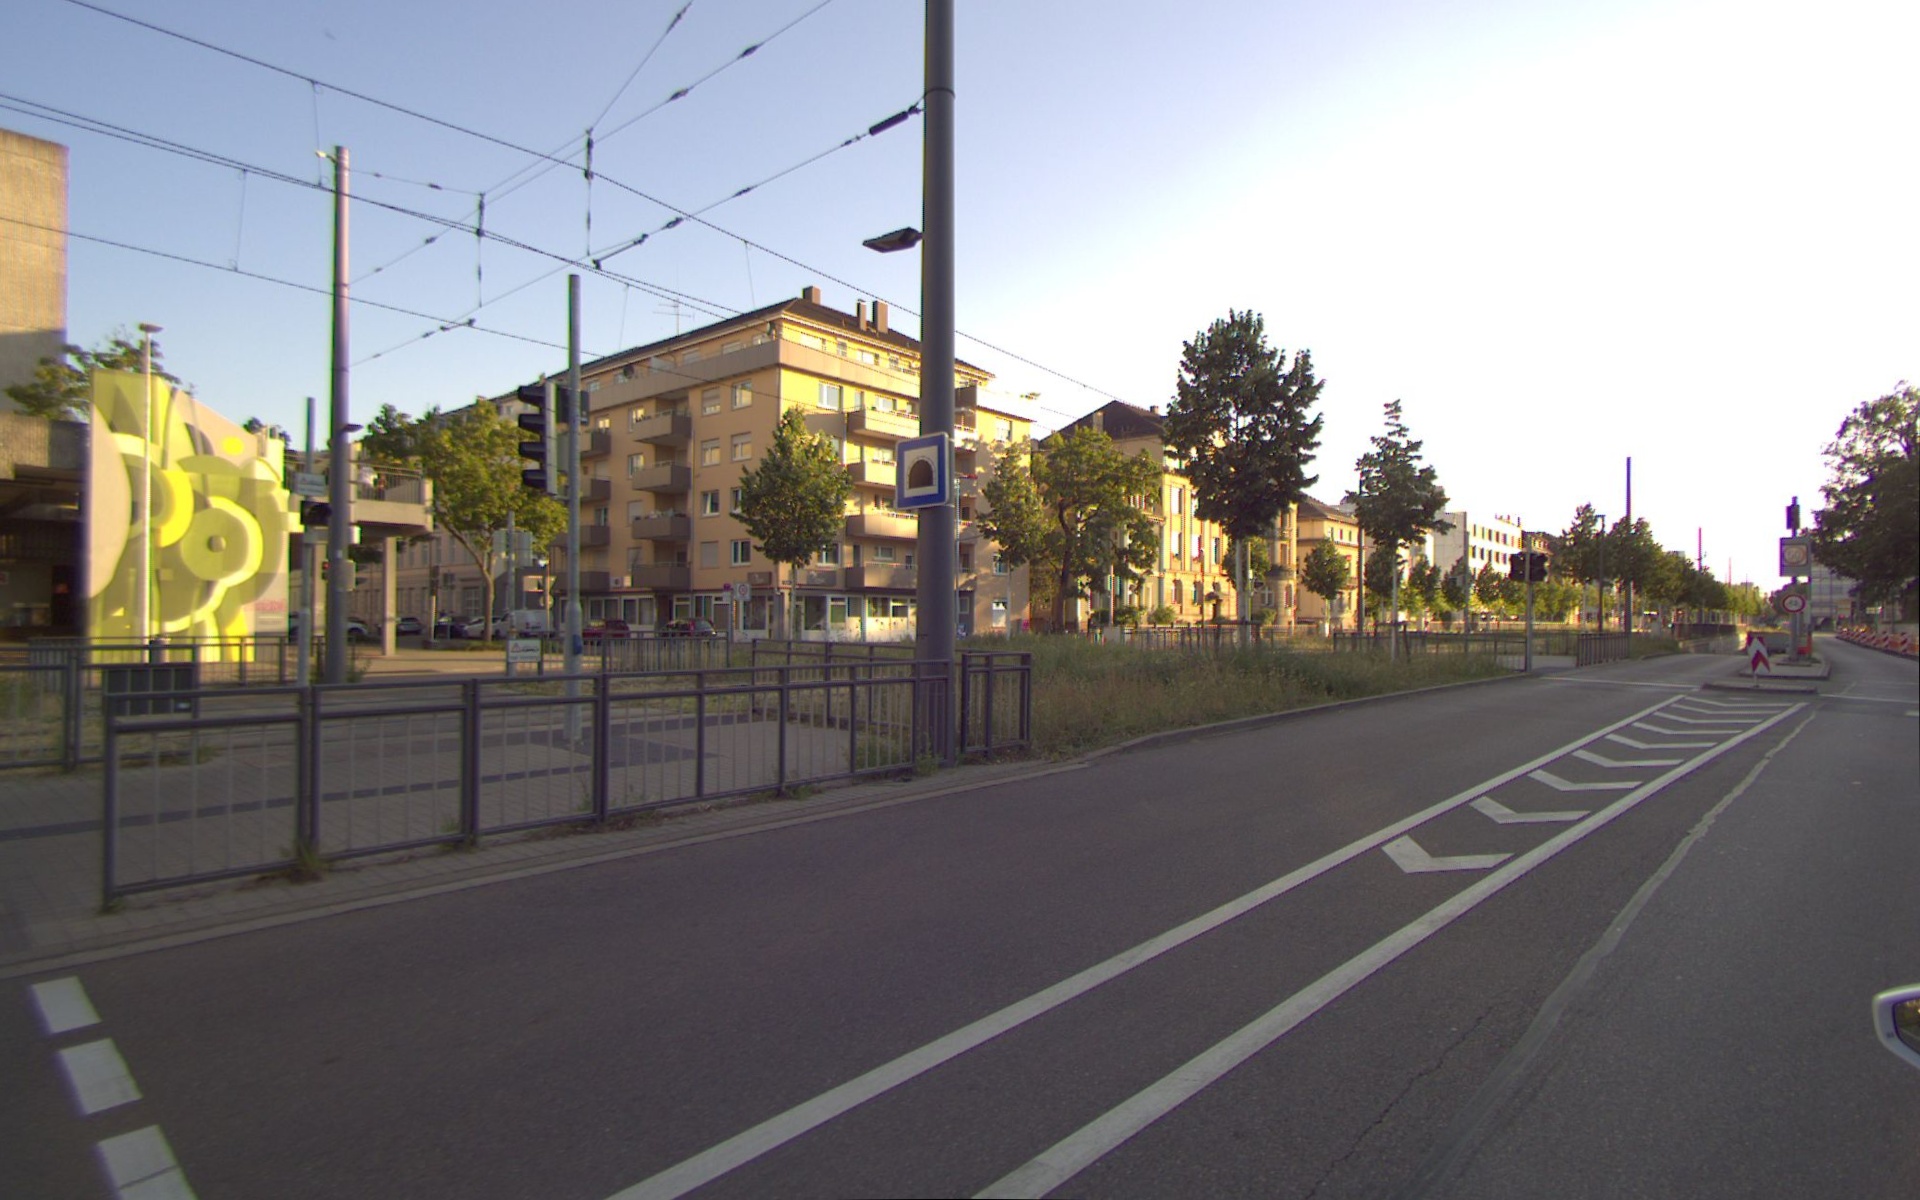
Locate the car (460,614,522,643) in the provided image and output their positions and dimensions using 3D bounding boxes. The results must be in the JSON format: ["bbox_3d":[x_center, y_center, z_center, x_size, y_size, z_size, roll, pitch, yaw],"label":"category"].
[{"bbox_3d":[-30.347,1.815,64.978,4.279,1.779,2.106,0,-1,41],"label":"car"}]

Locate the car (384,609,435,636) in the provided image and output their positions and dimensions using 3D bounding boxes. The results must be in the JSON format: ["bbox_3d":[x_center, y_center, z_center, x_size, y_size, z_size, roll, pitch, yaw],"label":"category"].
[{"bbox_3d":[-40.864,1.681,74.541,3.847,1.809,1.981,-4,-1,39],"label":"car"}]

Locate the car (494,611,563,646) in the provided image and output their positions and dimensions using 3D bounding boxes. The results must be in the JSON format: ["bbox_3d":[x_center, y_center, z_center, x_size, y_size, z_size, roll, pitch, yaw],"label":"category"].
[{"bbox_3d":[-26.339,1.699,61.303,4.435,2.016,2.156,0,-1,41],"label":"car"}]

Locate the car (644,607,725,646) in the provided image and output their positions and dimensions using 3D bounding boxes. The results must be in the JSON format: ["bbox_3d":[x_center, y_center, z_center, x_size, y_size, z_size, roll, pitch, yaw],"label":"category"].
[{"bbox_3d":[-13.832,1.311,50.368,3.888,1.870,2.180,0,-1,41],"label":"car"}]

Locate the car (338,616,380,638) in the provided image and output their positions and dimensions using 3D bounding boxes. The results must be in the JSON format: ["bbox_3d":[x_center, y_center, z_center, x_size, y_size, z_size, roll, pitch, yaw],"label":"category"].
[{"bbox_3d":[-48.846,2.197,81.612,3.946,1.539,1.717,-4,-2,41],"label":"car"}]

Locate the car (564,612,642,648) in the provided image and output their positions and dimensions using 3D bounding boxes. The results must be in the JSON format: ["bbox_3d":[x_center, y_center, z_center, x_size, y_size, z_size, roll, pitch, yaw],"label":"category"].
[{"bbox_3d":[-19.853,1.697,55.824,4.277,1.793,2.157,-4,-2,39],"label":"car"}]

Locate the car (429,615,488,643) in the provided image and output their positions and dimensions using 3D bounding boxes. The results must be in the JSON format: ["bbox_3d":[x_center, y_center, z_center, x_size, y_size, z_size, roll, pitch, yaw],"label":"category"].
[{"bbox_3d":[-34.176,1.957,68.426,4.279,1.779,2.106,0,-1,41],"label":"car"}]
